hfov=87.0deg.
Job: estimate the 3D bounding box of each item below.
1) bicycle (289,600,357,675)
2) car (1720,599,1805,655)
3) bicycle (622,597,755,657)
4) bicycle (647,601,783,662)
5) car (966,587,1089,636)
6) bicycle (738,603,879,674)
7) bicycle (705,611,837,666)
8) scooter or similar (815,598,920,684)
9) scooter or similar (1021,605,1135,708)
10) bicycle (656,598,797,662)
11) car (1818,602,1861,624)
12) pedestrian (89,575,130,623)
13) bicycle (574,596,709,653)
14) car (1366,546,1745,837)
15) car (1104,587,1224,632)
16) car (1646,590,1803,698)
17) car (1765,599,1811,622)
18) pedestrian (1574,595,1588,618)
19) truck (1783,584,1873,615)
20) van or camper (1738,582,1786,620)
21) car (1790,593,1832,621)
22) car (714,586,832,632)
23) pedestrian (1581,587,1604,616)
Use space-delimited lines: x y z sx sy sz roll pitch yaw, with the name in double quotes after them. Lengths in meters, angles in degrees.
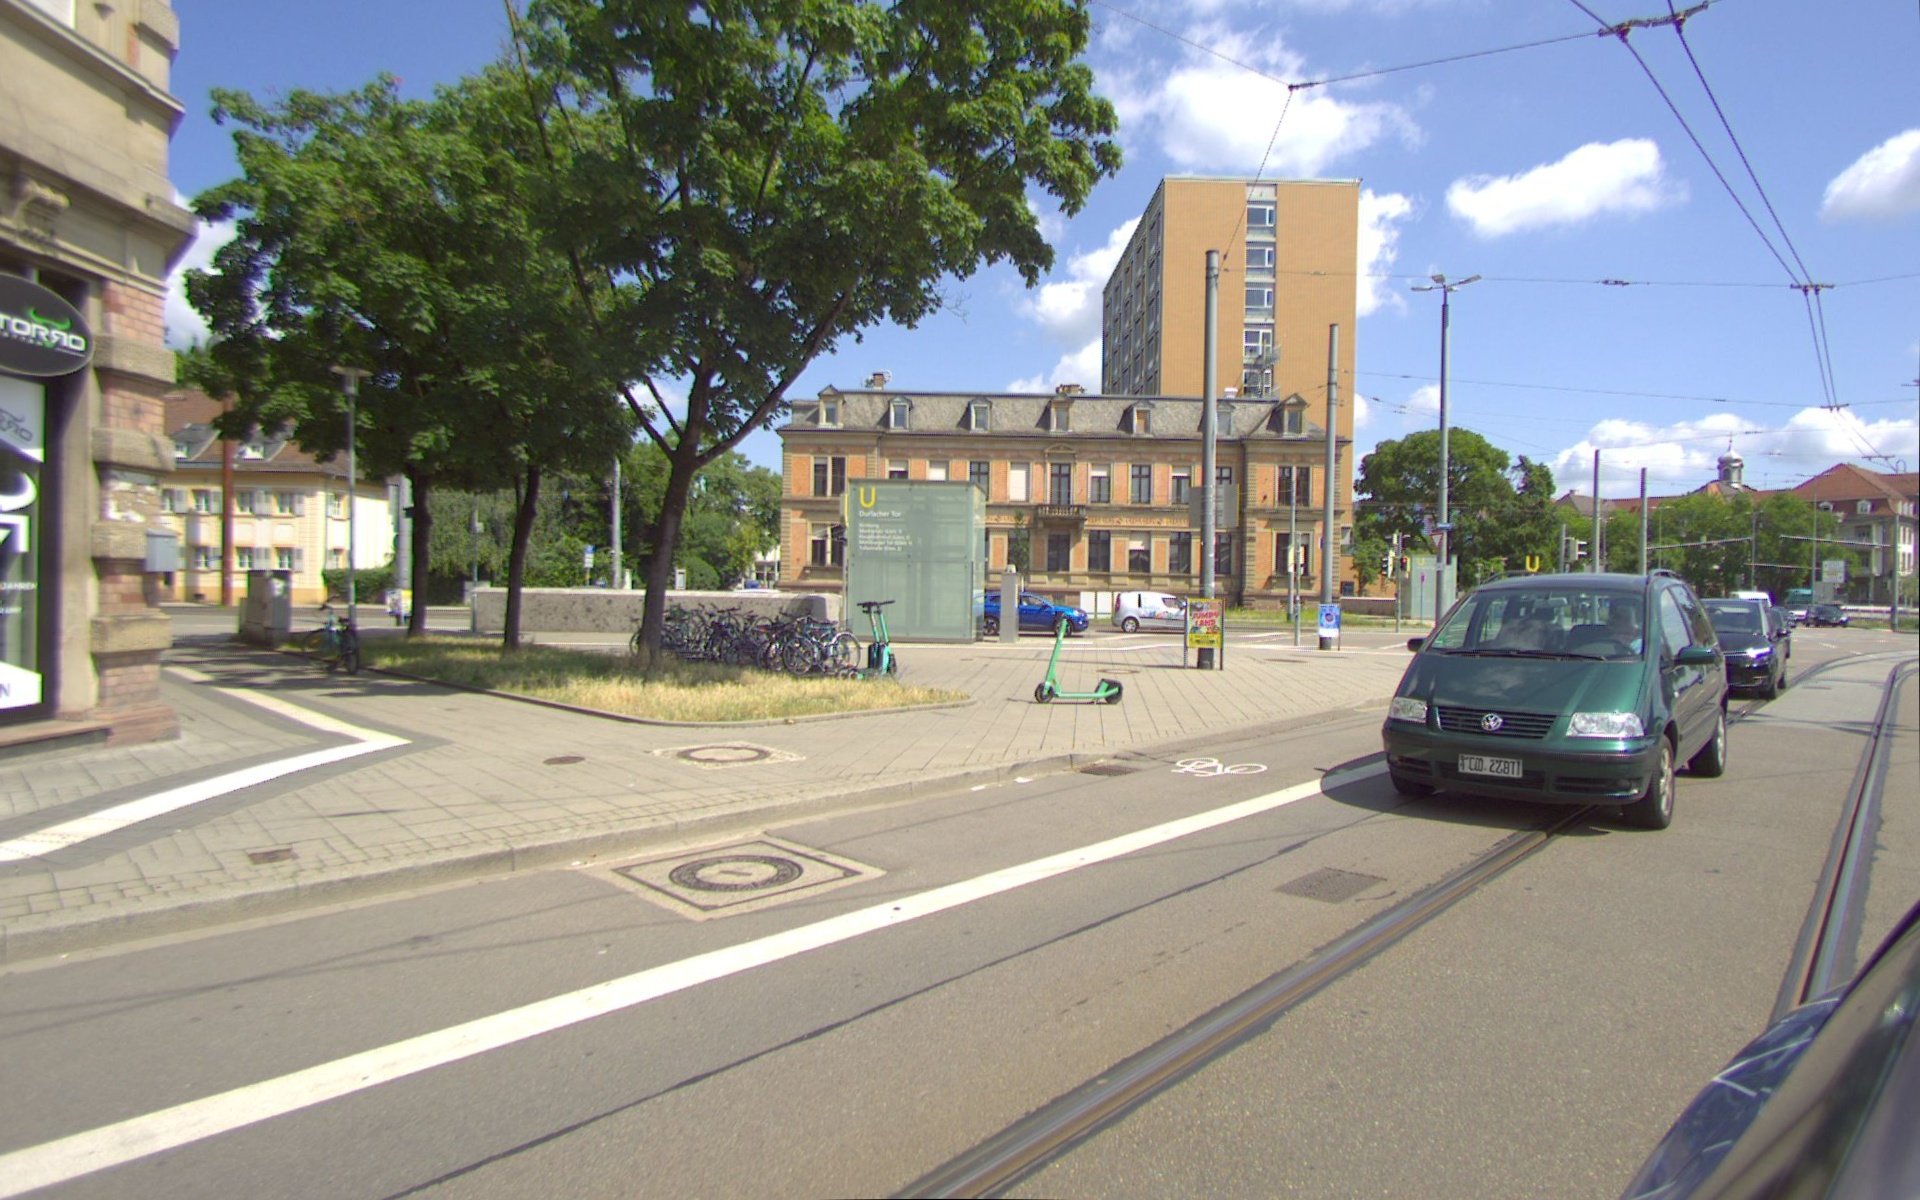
-9.870 0.550 15.658 0.750 1.063 1.651 1 1 -37 "bicycle"
24.054 0.744 30.452 1.864 1.504 4.367 1 1 37 "car"
-5.463 0.515 20.511 2.530 1.104 0.792 0 2 -43 "bicycle"
-4.790 0.586 19.924 2.530 1.066 0.792 0 2 -43 "bicycle"
2.473 0.380 36.713 4.351 1.570 1.871 1 3 8 "car"
-2.604 0.630 17.575 2.225 1.095 1.026 0 2 -43 "bicycle"
-3.407 0.693 18.415 2.249 0.891 0.843 2 1 -43 "bicycle"
-1.421 0.605 15.679 0.946 1.218 1.371 2 2 38 "scooter or similar"
1.505 0.687 12.884 1.066 1.194 0.950 0 2 -39 "scooter or similar"
-4.372 0.532 19.102 2.530 1.083 0.792 0 2 -43 "bicycle"
60.610 0.880 69.804 1.660 1.393 3.869 2 0 33 "car"
-29.129 -0.035 34.653 0.899 1.556 0.854 3 -1 39 "pedestrian"
-6.484 0.467 20.719 2.530 1.066 0.792 0 2 -43 "bicycle"
4.956 0.538 8.156 1.814 1.739 4.021 0 0 43 "car"
7.837 0.338 39.209 4.350 1.607 1.871 1 1 7 "car"
13.394 0.677 17.625 1.866 1.637 4.360 -1 -1 41 "car"
57.143 0.722 69.896 1.887 1.482 4.213 1 1 32 "car"
44.140 0.473 71.965 0.824 1.606 0.758 1 0 33 "pedestrian"
89.817 -0.077 104.986 3.305 3.035 8.702 1 1 12 "truck"
61.868 0.033 78.123 2.216 2.770 5.459 1 1 32 "van or camper"
64.360 0.499 76.597 1.802 2.039 3.956 1 1 31 "car"
-6.939 0.292 37.730 3.929 1.585 1.935 1 1 9 "car"
40.566 0.107 64.909 1.009 1.835 0.728 1 1 4 "pedestrian"
